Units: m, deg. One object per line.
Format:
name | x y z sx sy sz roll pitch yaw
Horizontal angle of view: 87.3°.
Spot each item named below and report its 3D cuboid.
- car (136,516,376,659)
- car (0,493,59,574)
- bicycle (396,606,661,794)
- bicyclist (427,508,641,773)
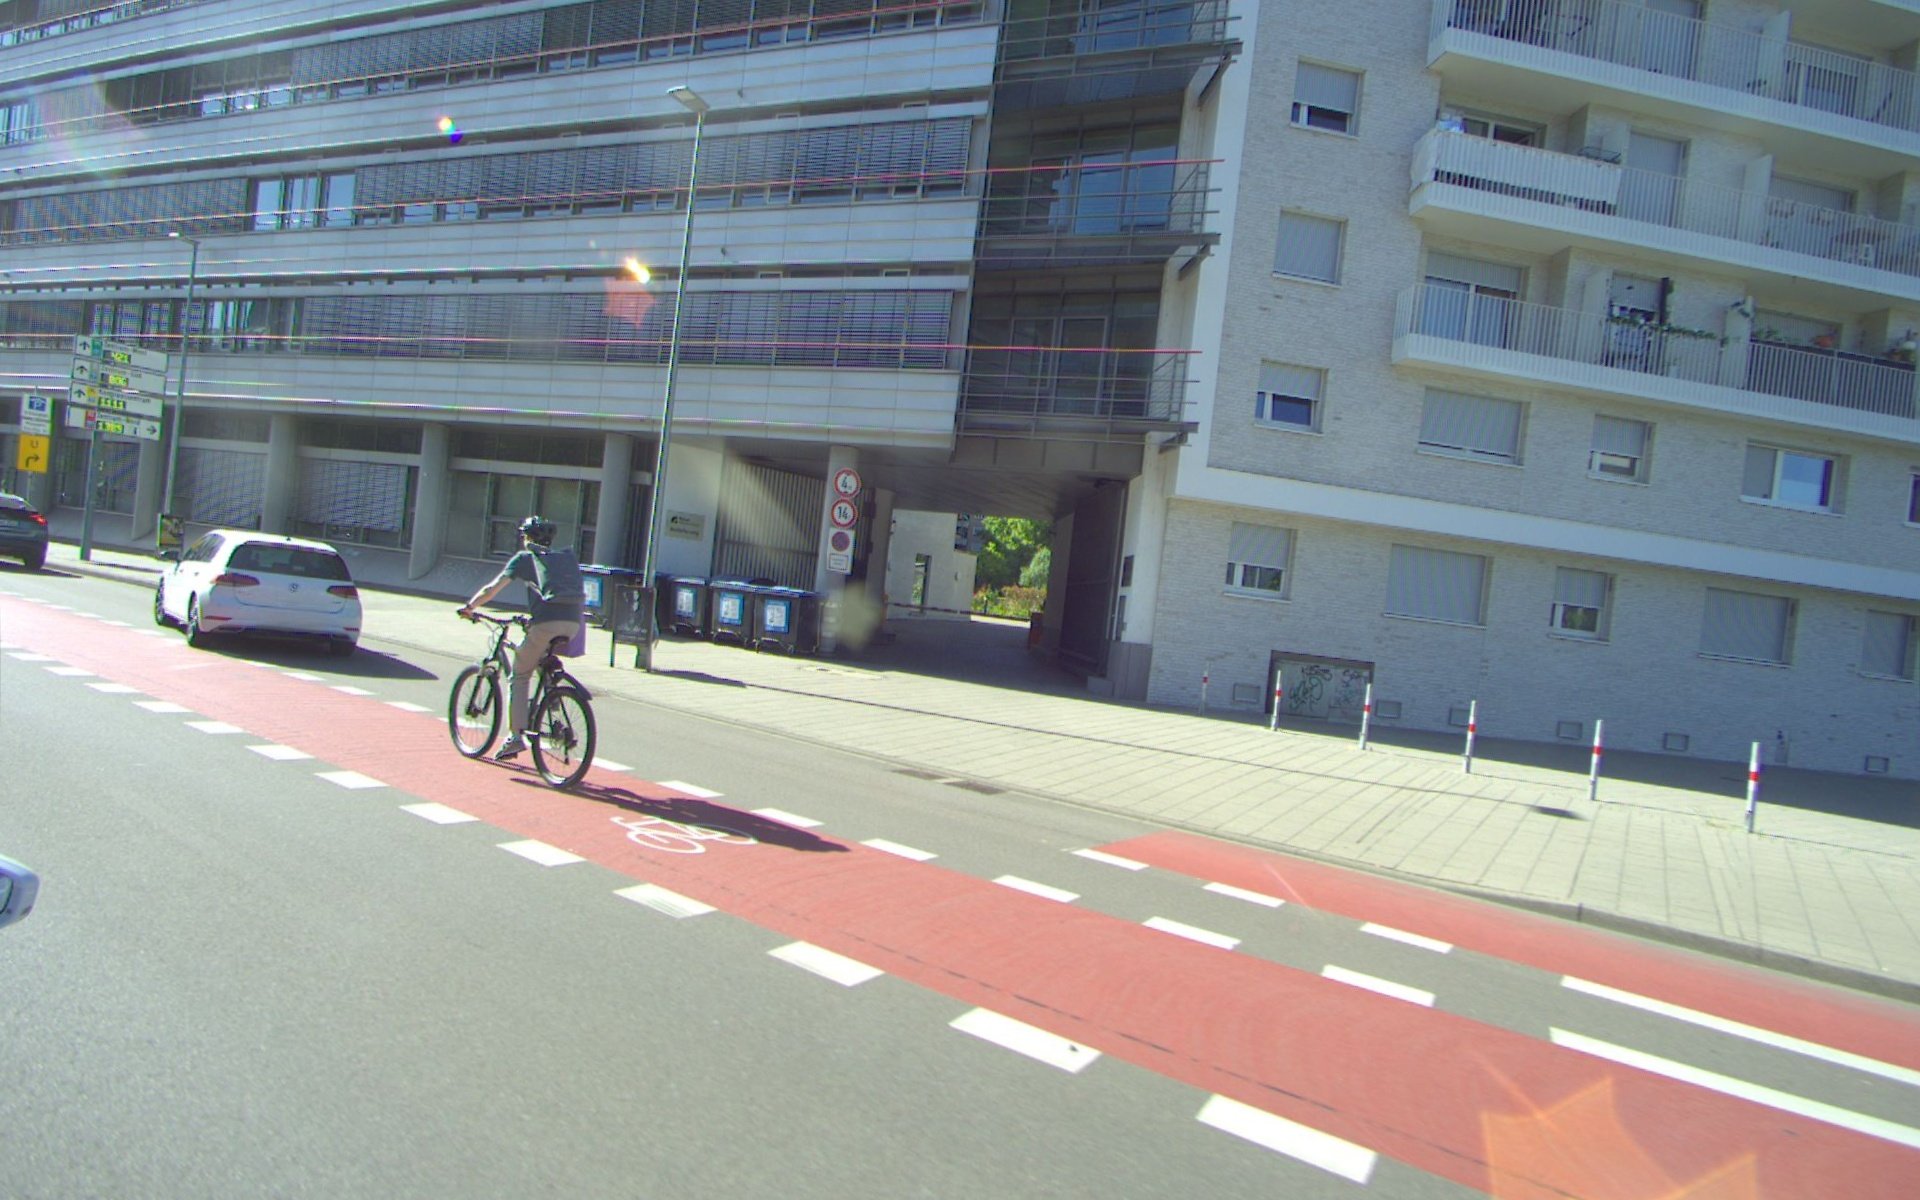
car | -9.469 -0.230 13.385 4.238 1.419 1.770 6 -3 45
car | -21.188 -1.583 21.336 4.324 1.543 1.724 7 0 29
bicycle | -3.185 0.689 7.366 1.862 1.049 0.826 7 -1 35
bicyclist | -3.058 0.278 7.226 1.034 1.713 0.807 7 -1 35
